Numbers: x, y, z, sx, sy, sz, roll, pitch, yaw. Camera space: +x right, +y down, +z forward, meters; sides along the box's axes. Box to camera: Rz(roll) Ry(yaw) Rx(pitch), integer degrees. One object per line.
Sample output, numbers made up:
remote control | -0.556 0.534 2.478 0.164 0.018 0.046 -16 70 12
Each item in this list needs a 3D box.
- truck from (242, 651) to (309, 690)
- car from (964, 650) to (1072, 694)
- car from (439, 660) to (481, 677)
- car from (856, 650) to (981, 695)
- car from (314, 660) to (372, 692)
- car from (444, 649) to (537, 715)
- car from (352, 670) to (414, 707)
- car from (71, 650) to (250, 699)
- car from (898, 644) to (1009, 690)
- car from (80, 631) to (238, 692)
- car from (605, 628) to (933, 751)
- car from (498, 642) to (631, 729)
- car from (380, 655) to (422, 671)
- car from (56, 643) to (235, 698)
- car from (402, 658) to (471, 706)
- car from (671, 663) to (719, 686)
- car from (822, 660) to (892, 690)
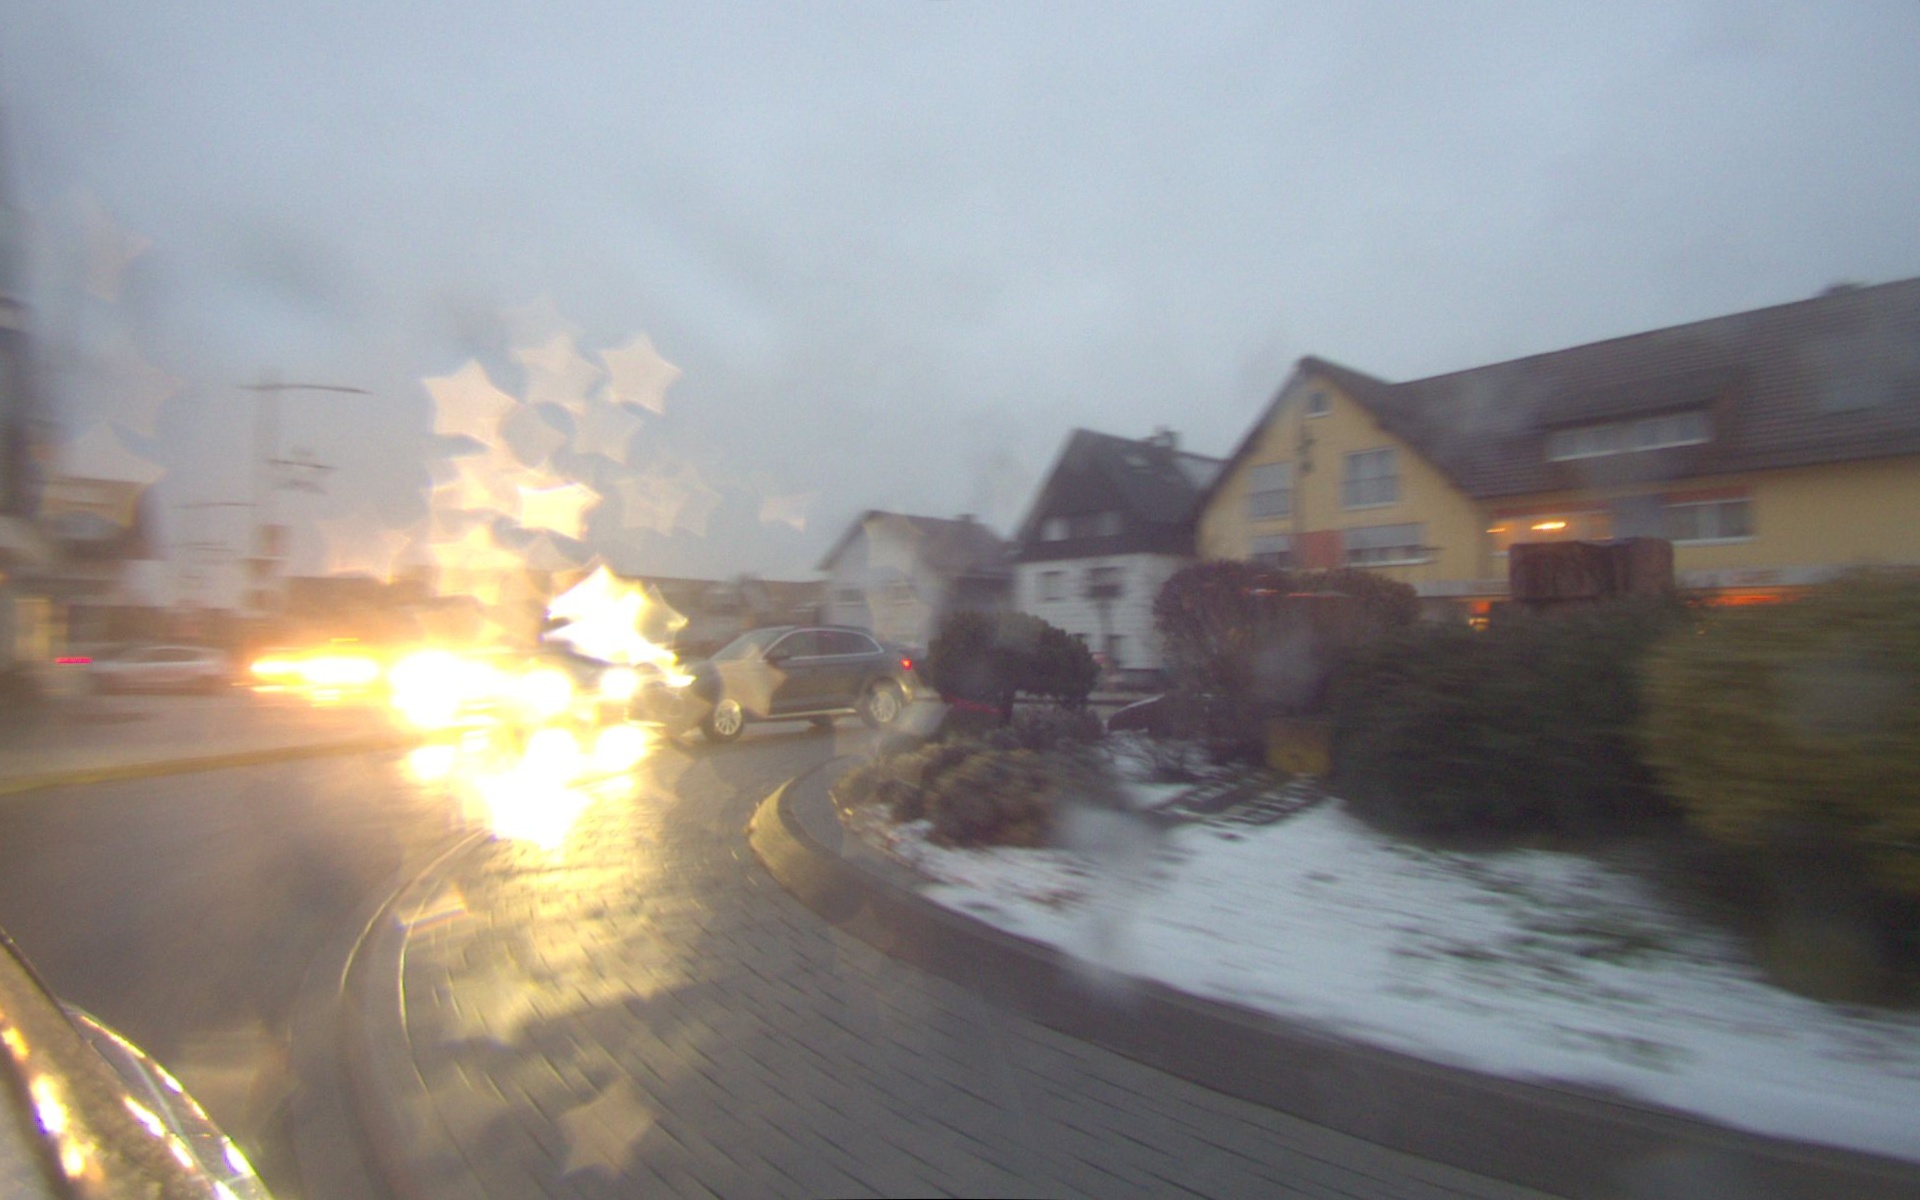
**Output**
truck | -41.697 4.257 61.579 6.106 2.248 2.216 -4 -4 45
car | 2.300 2.877 40.215 3.973 1.644 1.752 -2 -6 22
car | -45.731 6.299 92.498 4.008 1.480 1.656 -3 -7 35
car | -1.470 2.554 36.208 4.140 1.543 1.905 -1 -3 14
car | -31.600 3.881 51.783 1.807 1.556 3.718 2 -5 -43
car | -12.865 2.201 27.617 1.654 1.637 4.010 1 -4 -34
car | -24.608 3.731 43.128 1.714 1.454 4.007 1 -3 -39
car | -26.479 2.503 33.598 4.454 1.504 1.976 4 -8 -43
car | -0.229 2.554 38.293 3.865 1.683 1.829 -1 -6 18
car | -30.840 2.415 39.039 4.484 1.949 1.977 9 -9 -41
car | -2.843 1.279 15.538 4.557 1.605 1.958 1 -4 -38
car | -8.413 1.745 21.302 1.857 1.591 4.011 -1 -3 -32
car | -55.097 6.221 99.695 4.605 1.480 1.778 -3 -4 35
car | -24.880 2.189 31.007 1.813 1.515 3.944 -1 -5 42
car | -17.918 2.776 34.577 1.547 1.480 3.624 0 -3 -36
car | -17.957 5.051 68.555 3.503 1.520 1.458 -3 -5 42
car | -5.727 4.113 56.008 1.753 1.581 4.097 2 -4 -44
